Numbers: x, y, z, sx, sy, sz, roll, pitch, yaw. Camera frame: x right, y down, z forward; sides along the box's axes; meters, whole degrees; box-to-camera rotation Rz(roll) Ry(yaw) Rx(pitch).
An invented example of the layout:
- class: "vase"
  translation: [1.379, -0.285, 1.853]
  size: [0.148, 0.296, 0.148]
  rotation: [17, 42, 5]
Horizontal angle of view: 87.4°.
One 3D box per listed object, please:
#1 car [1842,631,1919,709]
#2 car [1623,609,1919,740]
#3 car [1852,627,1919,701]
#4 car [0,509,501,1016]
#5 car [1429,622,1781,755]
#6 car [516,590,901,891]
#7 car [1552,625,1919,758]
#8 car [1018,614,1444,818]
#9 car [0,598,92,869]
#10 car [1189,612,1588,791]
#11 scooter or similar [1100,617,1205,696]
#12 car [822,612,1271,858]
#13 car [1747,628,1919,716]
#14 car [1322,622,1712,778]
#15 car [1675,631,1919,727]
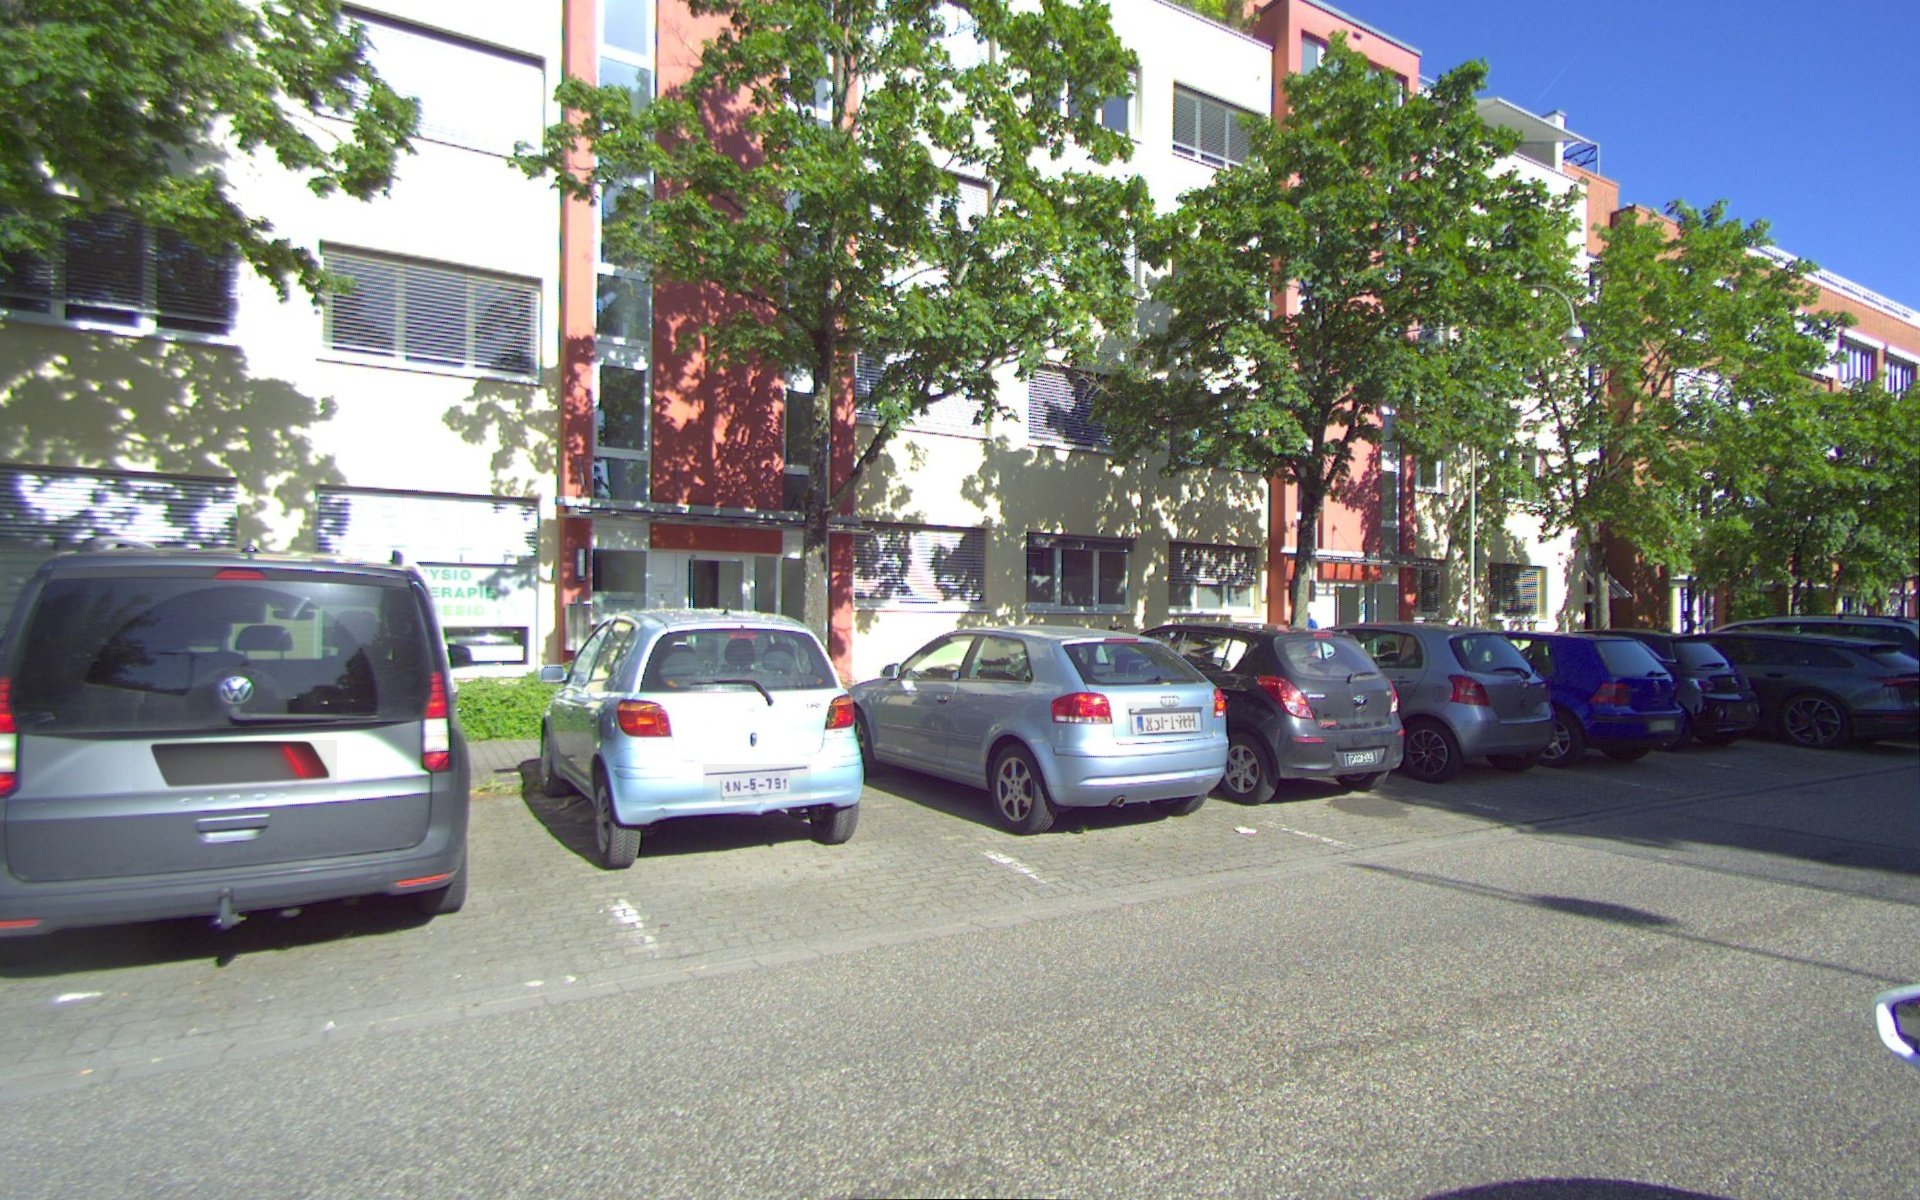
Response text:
- class: "car"
  translation: [19.587, 1.401, 19.273]
  size: [1.708, 1.446, 3.701]
  rotation: [1, 0, -35]
- class: "car"
  translation: [13.307, 1.072, 15.878]
  size: [1.940, 1.740, 4.298]
  rotation: [1, 0, -31]
- class: "car"
  translation: [21.713, 1.408, 21.099]
  size: [1.704, 1.548, 4.113]
  rotation: [1, 0, -29]
- class: "car"
  translation: [-3.754, 0.580, 5.702]
  size: [1.764, 1.835, 3.874]
  rotation: [1, 0, -29]
- class: "car"
  translation: [8.730, 1.097, 13.909]
  size: [1.752, 1.446, 3.707]
  rotation: [1, 0, -30]
- class: "car"
  translation: [-2.117, 0.746, 7.508]
  size: [1.837, 1.595, 3.874]
  rotation: [1, 0, -29]
- class: "car"
  translation: [11.195, 1.164, 14.368]
  size: [1.753, 1.446, 4.379]
  rotation: [1, 0, -31]
- class: "car"
  translation: [2.409, 0.923, 9.746]
  size: [1.840, 1.466, 3.704]
  rotation: [1, 0, -33]
- class: "car"
  translation: [-5.872, 0.728, 4.889]
  size: [1.718, 1.442, 3.874]
  rotation: [1, 0, -29]
- class: "car"
  translation: [4.531, 0.953, 11.149]
  size: [1.838, 1.529, 3.707]
  rotation: [1, 0, -30]
- class: "scooter or similar"
  translation: [3.734, 1.070, 19.450]
  size: [2.085, 1.465, 0.651]
  rotation: [1, -2, -30]
- class: "car"
  translation: [0.488, 0.882, 8.403]
  size: [1.856, 1.466, 3.704]
  rotation: [1, 0, -33]
- class: "car"
  translation: [17.324, 1.325, 18.813]
  size: [1.705, 1.446, 3.707]
  rotation: [1, 0, -30]
- class: "car"
  translation: [6.491, 1.049, 12.101]
  size: [1.819, 1.446, 3.707]
  rotation: [1, 0, -30]
- class: "car"
  translation: [15.172, 1.303, 17.315]
  size: [1.737, 1.376, 4.299]
  rotation: [1, 0, -30]
